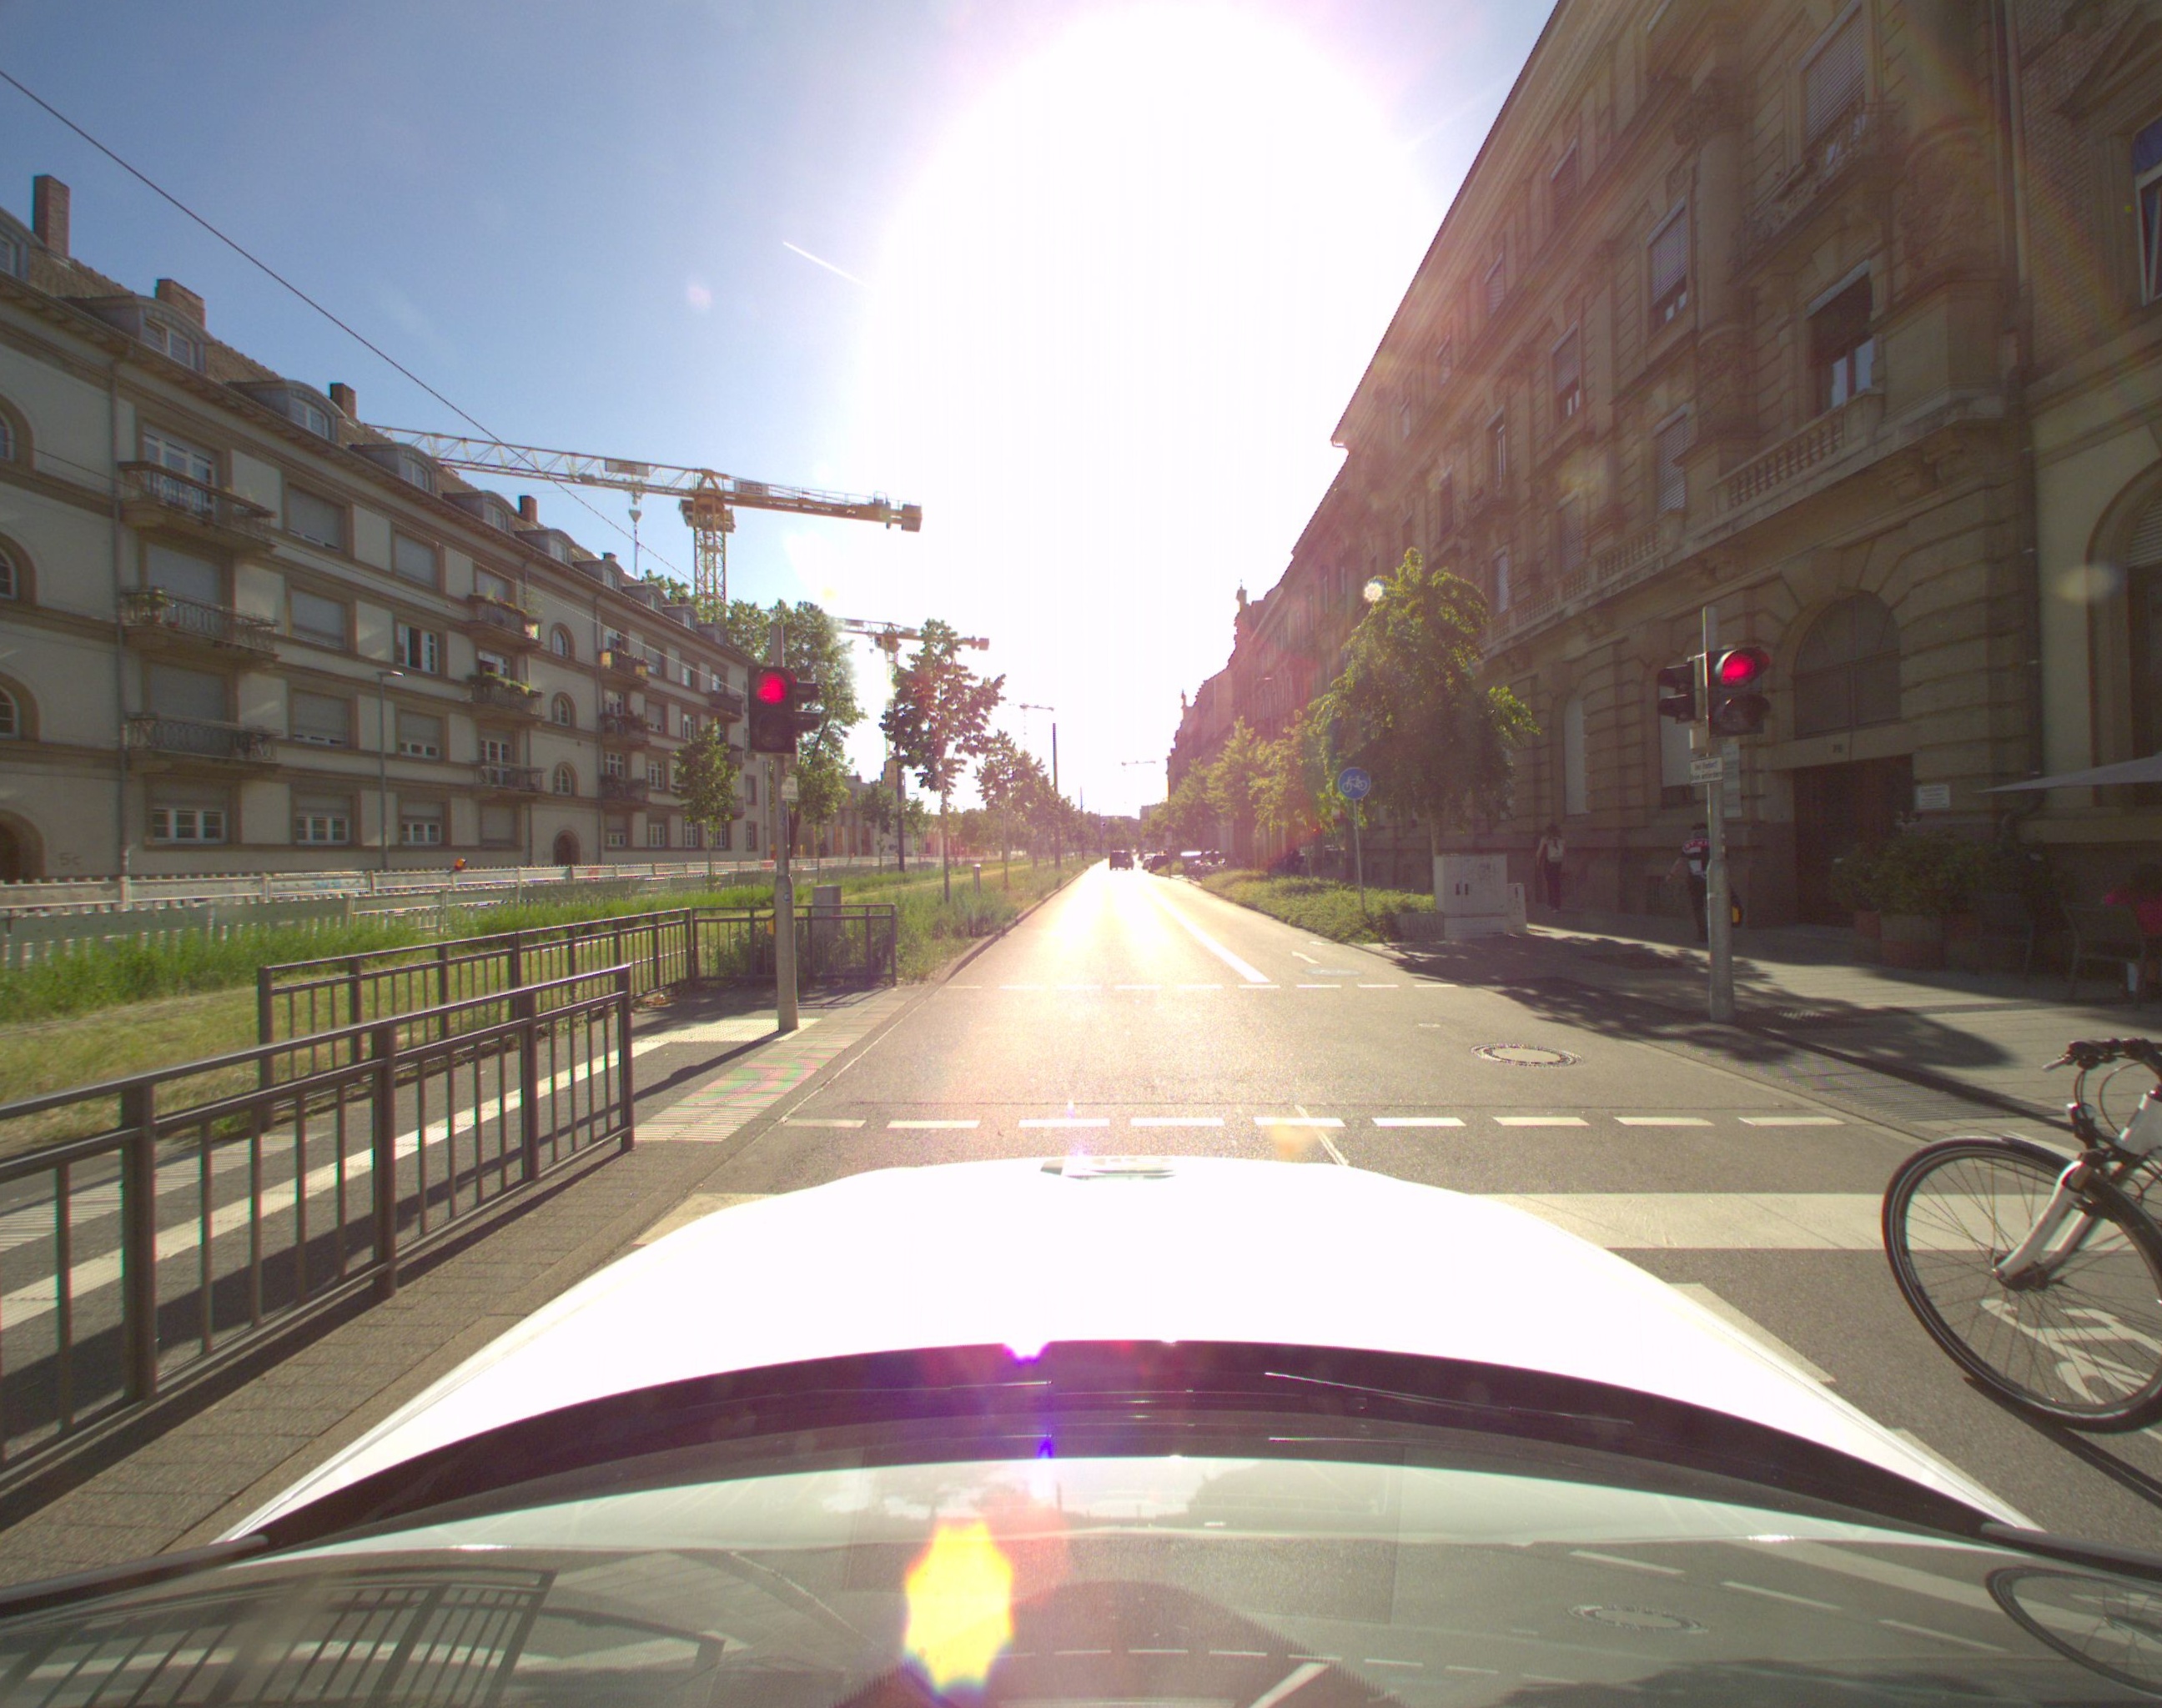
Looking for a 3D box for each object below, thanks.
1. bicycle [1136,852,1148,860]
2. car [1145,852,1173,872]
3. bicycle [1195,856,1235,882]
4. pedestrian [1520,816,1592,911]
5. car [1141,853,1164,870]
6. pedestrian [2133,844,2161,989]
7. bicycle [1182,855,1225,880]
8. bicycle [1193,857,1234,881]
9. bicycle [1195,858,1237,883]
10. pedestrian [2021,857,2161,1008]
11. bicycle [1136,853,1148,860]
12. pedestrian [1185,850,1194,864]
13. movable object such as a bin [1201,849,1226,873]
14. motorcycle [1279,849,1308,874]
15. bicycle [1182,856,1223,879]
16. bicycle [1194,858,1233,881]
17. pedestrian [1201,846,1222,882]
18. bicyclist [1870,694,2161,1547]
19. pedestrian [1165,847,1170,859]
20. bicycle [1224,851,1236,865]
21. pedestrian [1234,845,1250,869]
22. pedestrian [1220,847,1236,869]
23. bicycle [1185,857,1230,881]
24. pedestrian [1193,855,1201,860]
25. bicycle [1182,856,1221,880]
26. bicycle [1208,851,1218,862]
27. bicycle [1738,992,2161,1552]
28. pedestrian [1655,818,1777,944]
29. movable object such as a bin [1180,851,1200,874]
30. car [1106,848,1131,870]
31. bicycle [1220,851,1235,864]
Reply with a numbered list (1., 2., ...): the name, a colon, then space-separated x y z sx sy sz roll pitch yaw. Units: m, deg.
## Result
1. bicycle: 10.260 0.291 137.603 1.875 1.233 0.499 -4 -1 -4
2. car: 6.456 0.663 67.567 1.760 1.477 4.447 -4 -1 -1
3. bicycle: 6.556 0.724 39.955 1.860 1.179 0.373 -2 -1 -1
4. pedestrian: 10.140 0.204 17.425 0.885 1.920 1.100 -3 0 7
5. car: 7.057 0.732 80.269 1.944 1.495 5.108 -3 0 2
6. pedestrian: 9.859 0.540 6.890 0.722 1.282 0.888 -2 -1 1
7. bicycle: 6.481 0.709 42.931 2.148 1.154 0.428 -5 0 -12
8. bicycle: 6.716 0.744 41.414 1.971 1.108 0.435 -3 -1 -1
9. bicycle: 6.566 0.779 39.600 1.887 1.108 0.517 -3 -1 -4
10. pedestrian: 8.907 0.629 6.947 0.715 1.183 0.881 -2 -1 1
11. bicycle: 10.455 0.364 139.134 1.821 1.078 0.664 -4 0 -4
12. pedestrian: 12.929 0.365 96.731 0.992 1.731 0.866 0 -1 1
13. movable object such as a bin: 8.916 0.471 54.794 1.368 1.495 1.750 -4 -1 3
14. motorcycle: 11.514 0.408 44.242 0.862 1.266 2.983 0 -1 2
15. bicycle: 6.571 0.733 44.013 2.040 1.107 0.610 -4 0 -4
16. bicycle: 6.662 0.776 41.071 1.811 1.056 0.571 -3 -1 -4
17. pedestrian: 6.615 0.491 41.286 0.895 1.735 0.851 -5 0 5
18. bicyclist: 2.655 0.566 1.808 0.722 1.817 1.088 0 0 -7
19. pedestrian: 14.763 -0.171 138.484 0.814 2.014 1.046 0 -3 2
20. bicycle: 12.764 0.332 69.683 0.745 1.201 1.802 -3 -1 2
21. pedestrian: 11.787 0.210 59.569 0.967 1.639 0.993 -3 1 2
22. pedestrian: 10.732 0.294 59.527 0.947 1.566 1.080 -2 1 1
23. bicycle: 6.610 0.783 42.583 2.287 1.102 0.484 -3 0 -13
24. pedestrian: 14.328 0.471 100.694 0.770 0.553 2.008 -2 1 2
25. bicycle: 6.580 0.739 44.421 1.970 1.124 0.481 -5 1 -4
26. bicycle: 13.541 0.206 83.893 0.718 1.090 2.200 -3 0 2
27. bicycle: 2.659 0.984 1.793 0.722 1.006 1.948 0 0 -6
28. pedestrian: 9.112 0.372 11.747 0.962 1.692 1.118 -3 0 16
29. movable object such as a bin: 7.320 0.538 54.659 1.264 1.463 1.647 0 2 7
30. car: 3.687 0.483 78.814 1.982 2.014 4.009 0 -1 8
31. bicycle: 13.054 0.320 72.744 0.873 1.105 2.181 -4 0 -1
